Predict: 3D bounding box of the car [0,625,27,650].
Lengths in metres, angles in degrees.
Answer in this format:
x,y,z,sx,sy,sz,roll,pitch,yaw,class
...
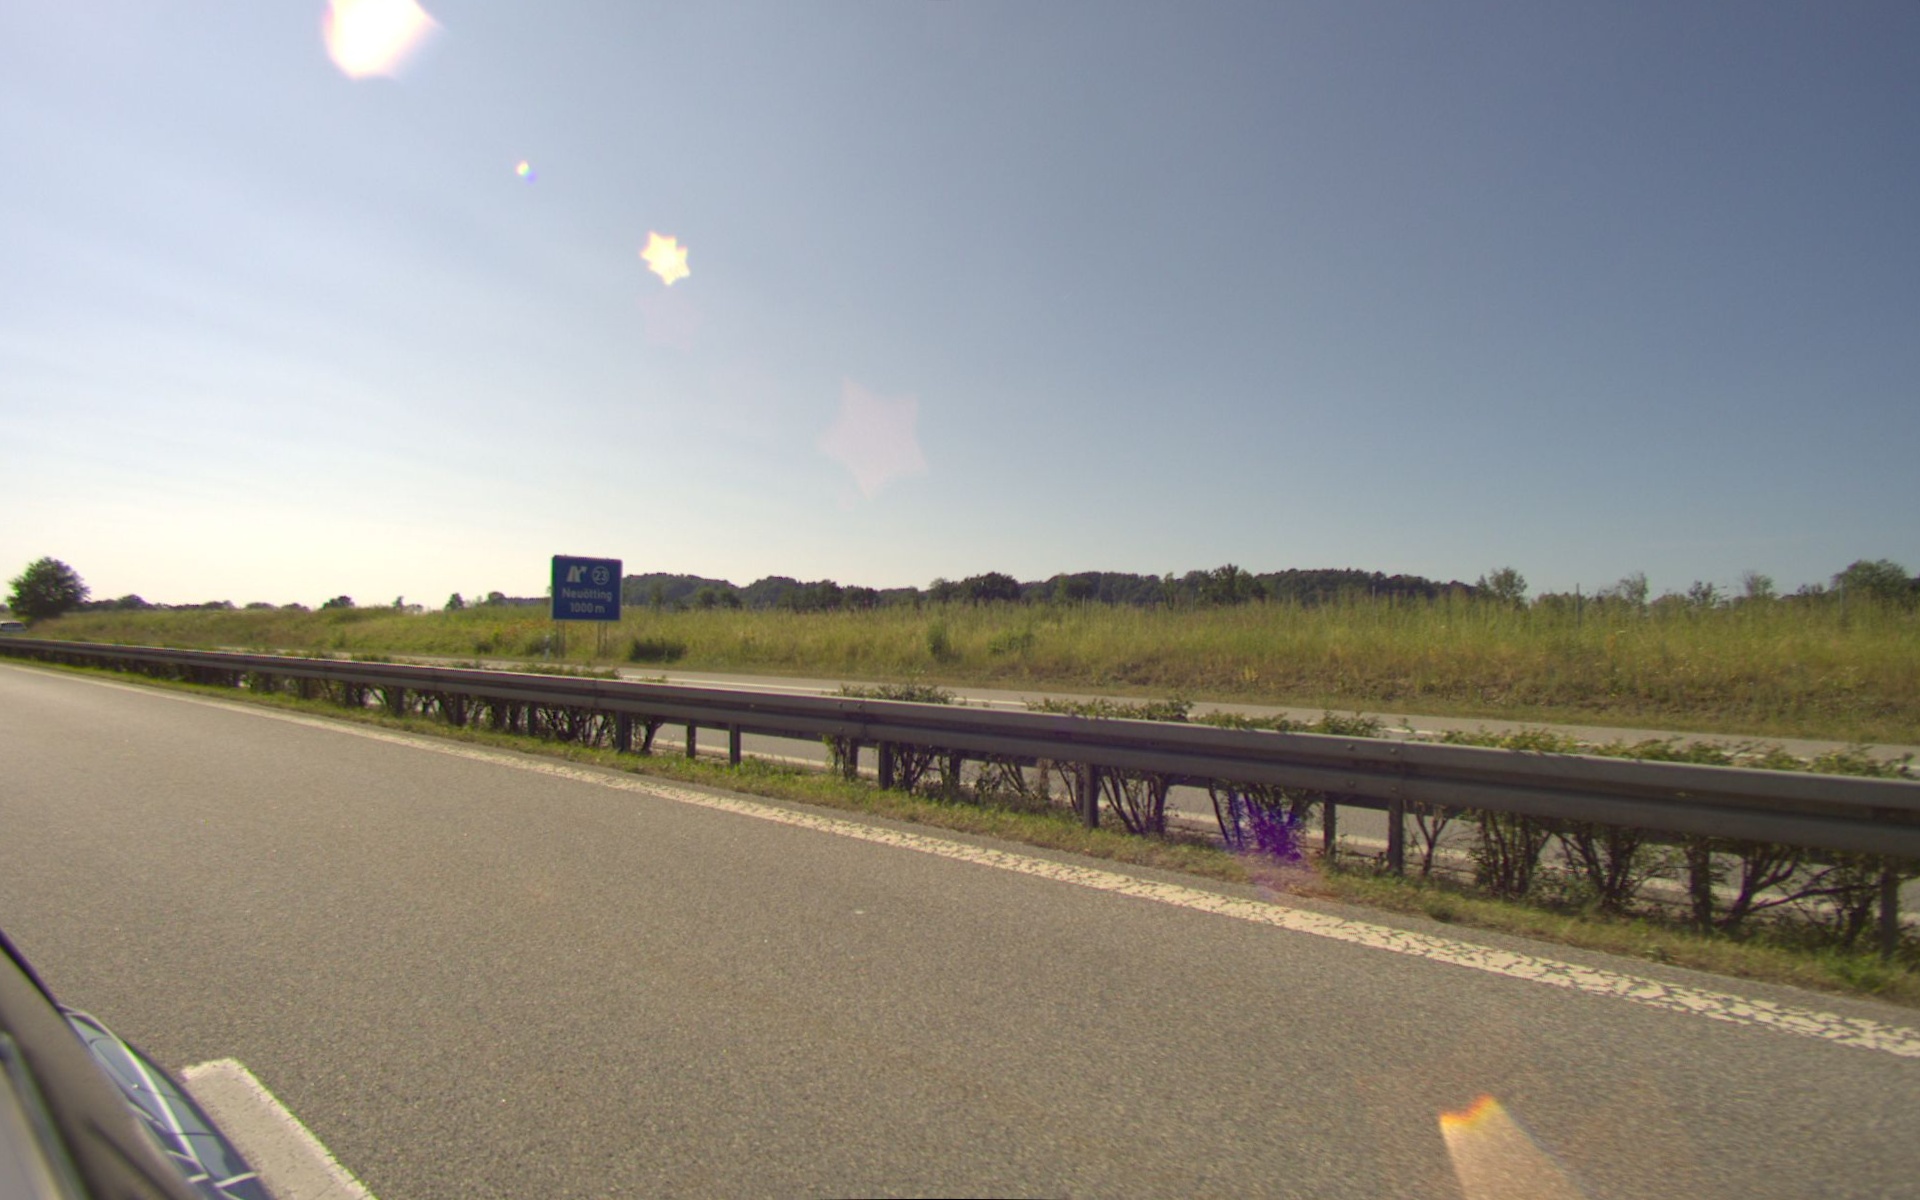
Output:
x,y,z,sx,sy,sz,roll,pitch,yaw,class
-66.930,2.621,70.594,4.999,1.636,1.749,-1,-4,36,car
